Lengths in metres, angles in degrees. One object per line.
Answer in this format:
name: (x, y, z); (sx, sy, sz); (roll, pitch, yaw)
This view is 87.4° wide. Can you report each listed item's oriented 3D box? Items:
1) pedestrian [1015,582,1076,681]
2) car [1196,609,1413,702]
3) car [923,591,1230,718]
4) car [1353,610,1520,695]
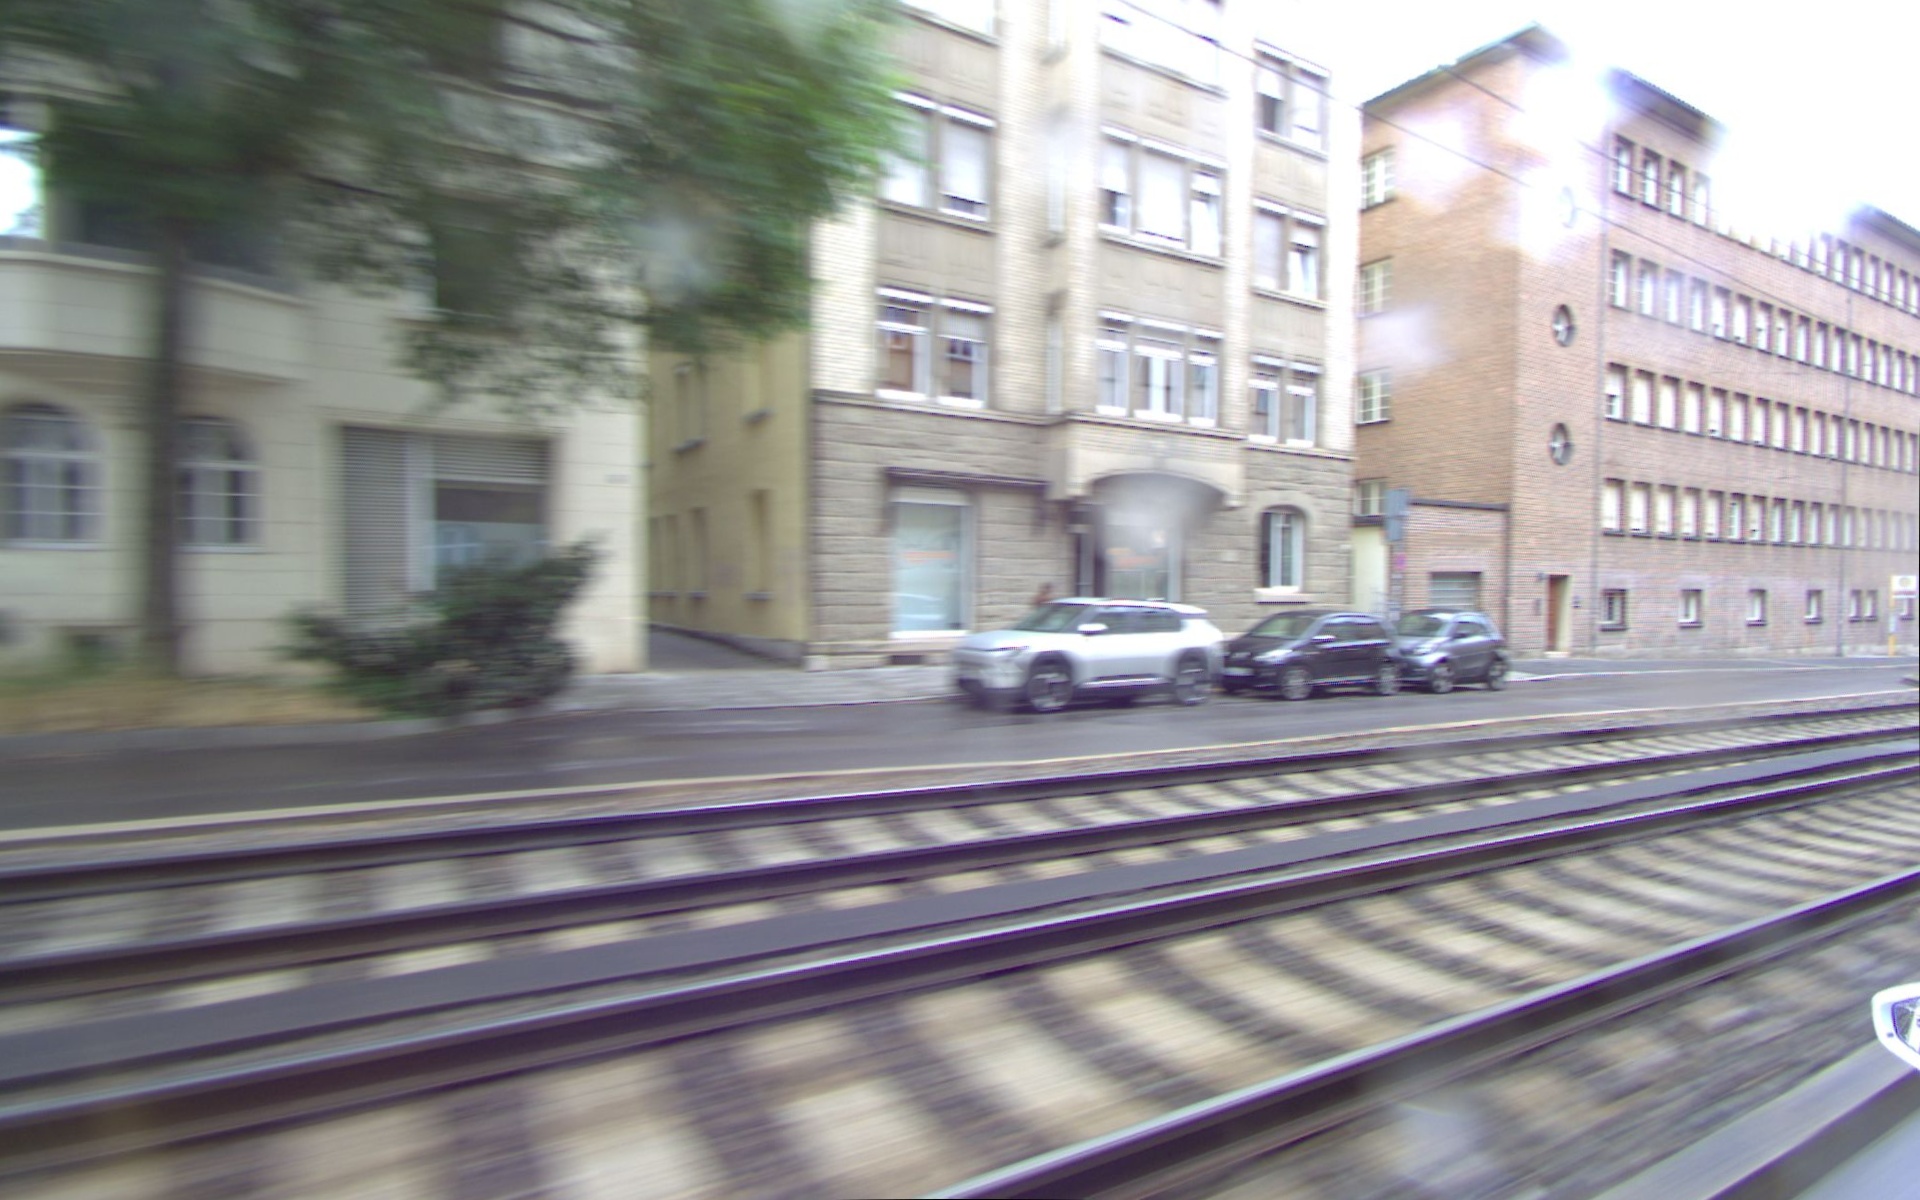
pedestrian: (1.503, 0.541, 17.666); (0.762, 1.685, 0.724); (1, 0, -31)
car: (6.067, 0.925, 17.604); (3.646, 1.434, 1.658); (1, 1, -32)
car: (1.789, 0.740, 15.021); (4.281, 1.627, 1.950); (1, 1, -32)
car: (9.262, 0.975, 19.509); (3.011, 1.486, 1.563); (1, 1, -33)
